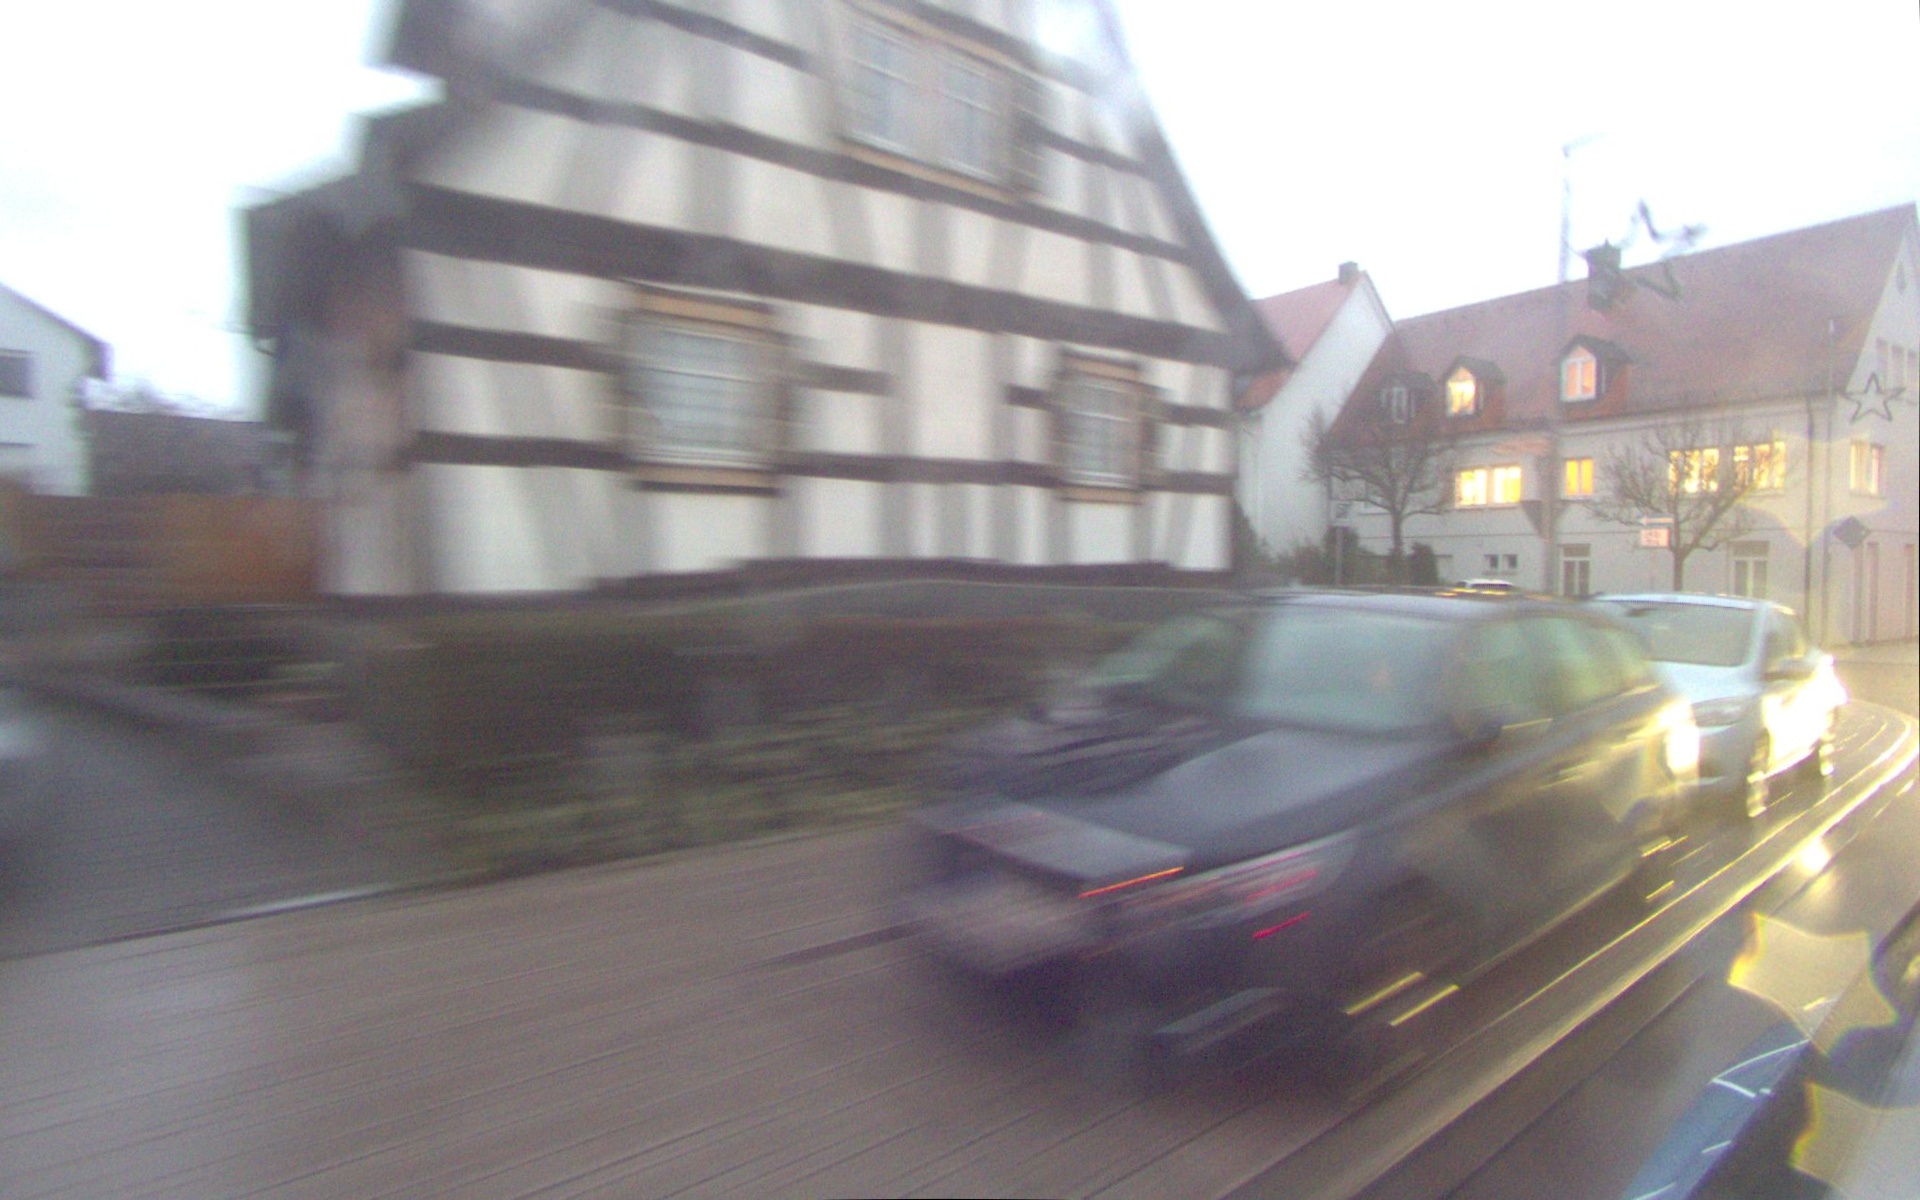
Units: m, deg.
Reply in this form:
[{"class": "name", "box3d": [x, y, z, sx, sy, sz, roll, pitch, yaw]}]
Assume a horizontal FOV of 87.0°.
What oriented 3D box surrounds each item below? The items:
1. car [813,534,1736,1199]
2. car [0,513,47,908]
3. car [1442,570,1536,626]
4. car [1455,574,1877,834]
[{"class": "car", "box3d": [1.685, 0.573, 4.313, 4.315, 1.545, 1.767, -1, 4, -42]}, {"class": "car", "box3d": [-5.304, 0.340, 4.578, 1.657, 1.458, 3.297, -1, 5, -41]}, {"class": "car", "box3d": [15.697, -0.109, 30.246, 1.772, 1.486, 4.199, 3, 2, 18]}, {"class": "car", "box3d": [5.677, 0.581, 7.967, 3.930, 1.476, 1.736, -1, 4, -41]}]
